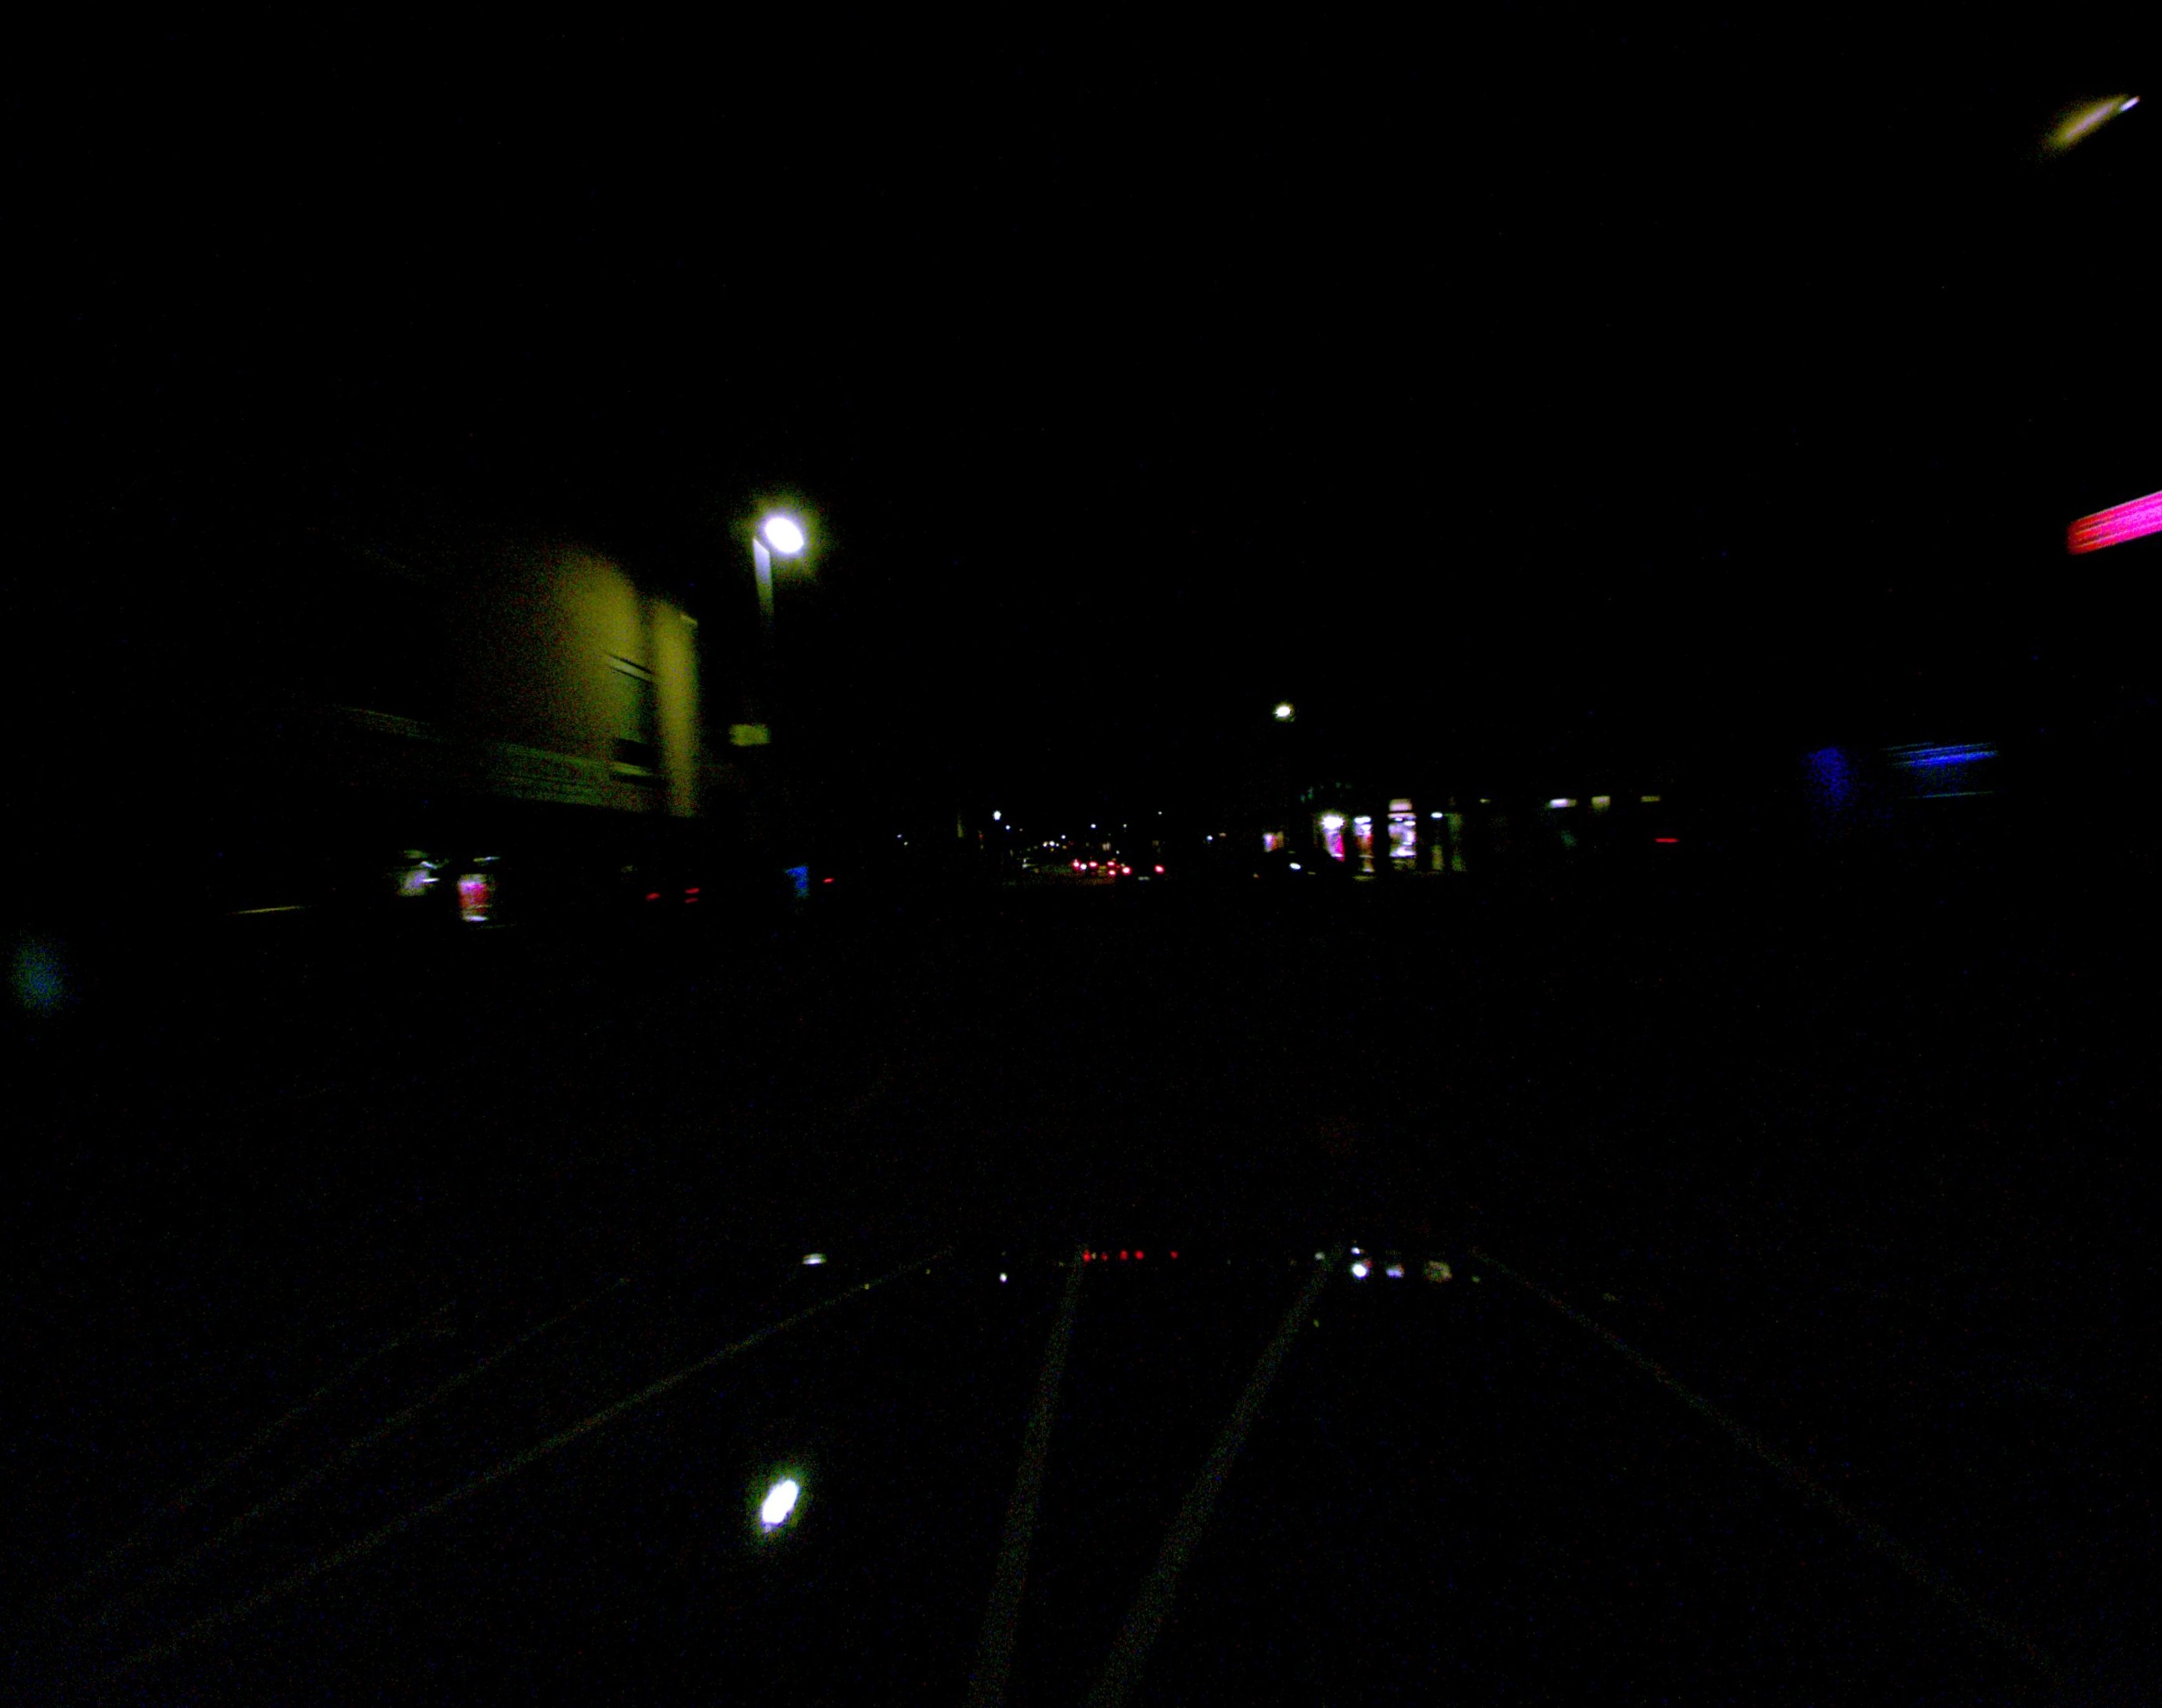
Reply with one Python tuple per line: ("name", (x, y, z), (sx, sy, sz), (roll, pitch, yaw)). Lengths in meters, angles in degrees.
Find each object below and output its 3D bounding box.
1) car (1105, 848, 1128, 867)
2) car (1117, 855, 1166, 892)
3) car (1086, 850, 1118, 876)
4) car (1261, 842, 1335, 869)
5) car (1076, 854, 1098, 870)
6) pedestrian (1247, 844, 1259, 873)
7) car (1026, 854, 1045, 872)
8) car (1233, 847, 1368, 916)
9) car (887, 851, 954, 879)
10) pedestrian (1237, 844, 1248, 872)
("car", (3.396, 0.344, 73.585), (1.814, 1.637, 3.803), (-4, 0, -1))
("car", (2.532, 0.776, 32.650), (1.721, 1.420, 3.815), (-2, 0, 0))
("car", (1.364, 0.610, 51.711), (1.753, 1.635, 4.306), (-2, 0, -4))
("car", (12.577, 0.084, 44.207), (3.833, 1.408, 1.652), (-2, 0, 1))
("car", (0.506, 0.696, 67.750), (1.822, 1.271, 3.916), (-3, 0, -1))
("pedestrian", (9.837, 0.252, 43.441), (0.528, 1.579, 0.666), (-3, 1, 14))
("car", (-4.042, 0.800, 67.651), (1.607, 1.474, 3.698), (-2, 0, -3))
("car", (5.427, 0.617, 19.531), (1.901, 1.411, 4.930), (-4, 0, -1))
("car", (-10.093, 0.698, 47.912), (3.916, 1.578, 1.644), (2, 0, -4))
("pedestrian", (9.335, 0.225, 43.870), (0.528, 1.579, 0.666), (-3, 1, 16))
